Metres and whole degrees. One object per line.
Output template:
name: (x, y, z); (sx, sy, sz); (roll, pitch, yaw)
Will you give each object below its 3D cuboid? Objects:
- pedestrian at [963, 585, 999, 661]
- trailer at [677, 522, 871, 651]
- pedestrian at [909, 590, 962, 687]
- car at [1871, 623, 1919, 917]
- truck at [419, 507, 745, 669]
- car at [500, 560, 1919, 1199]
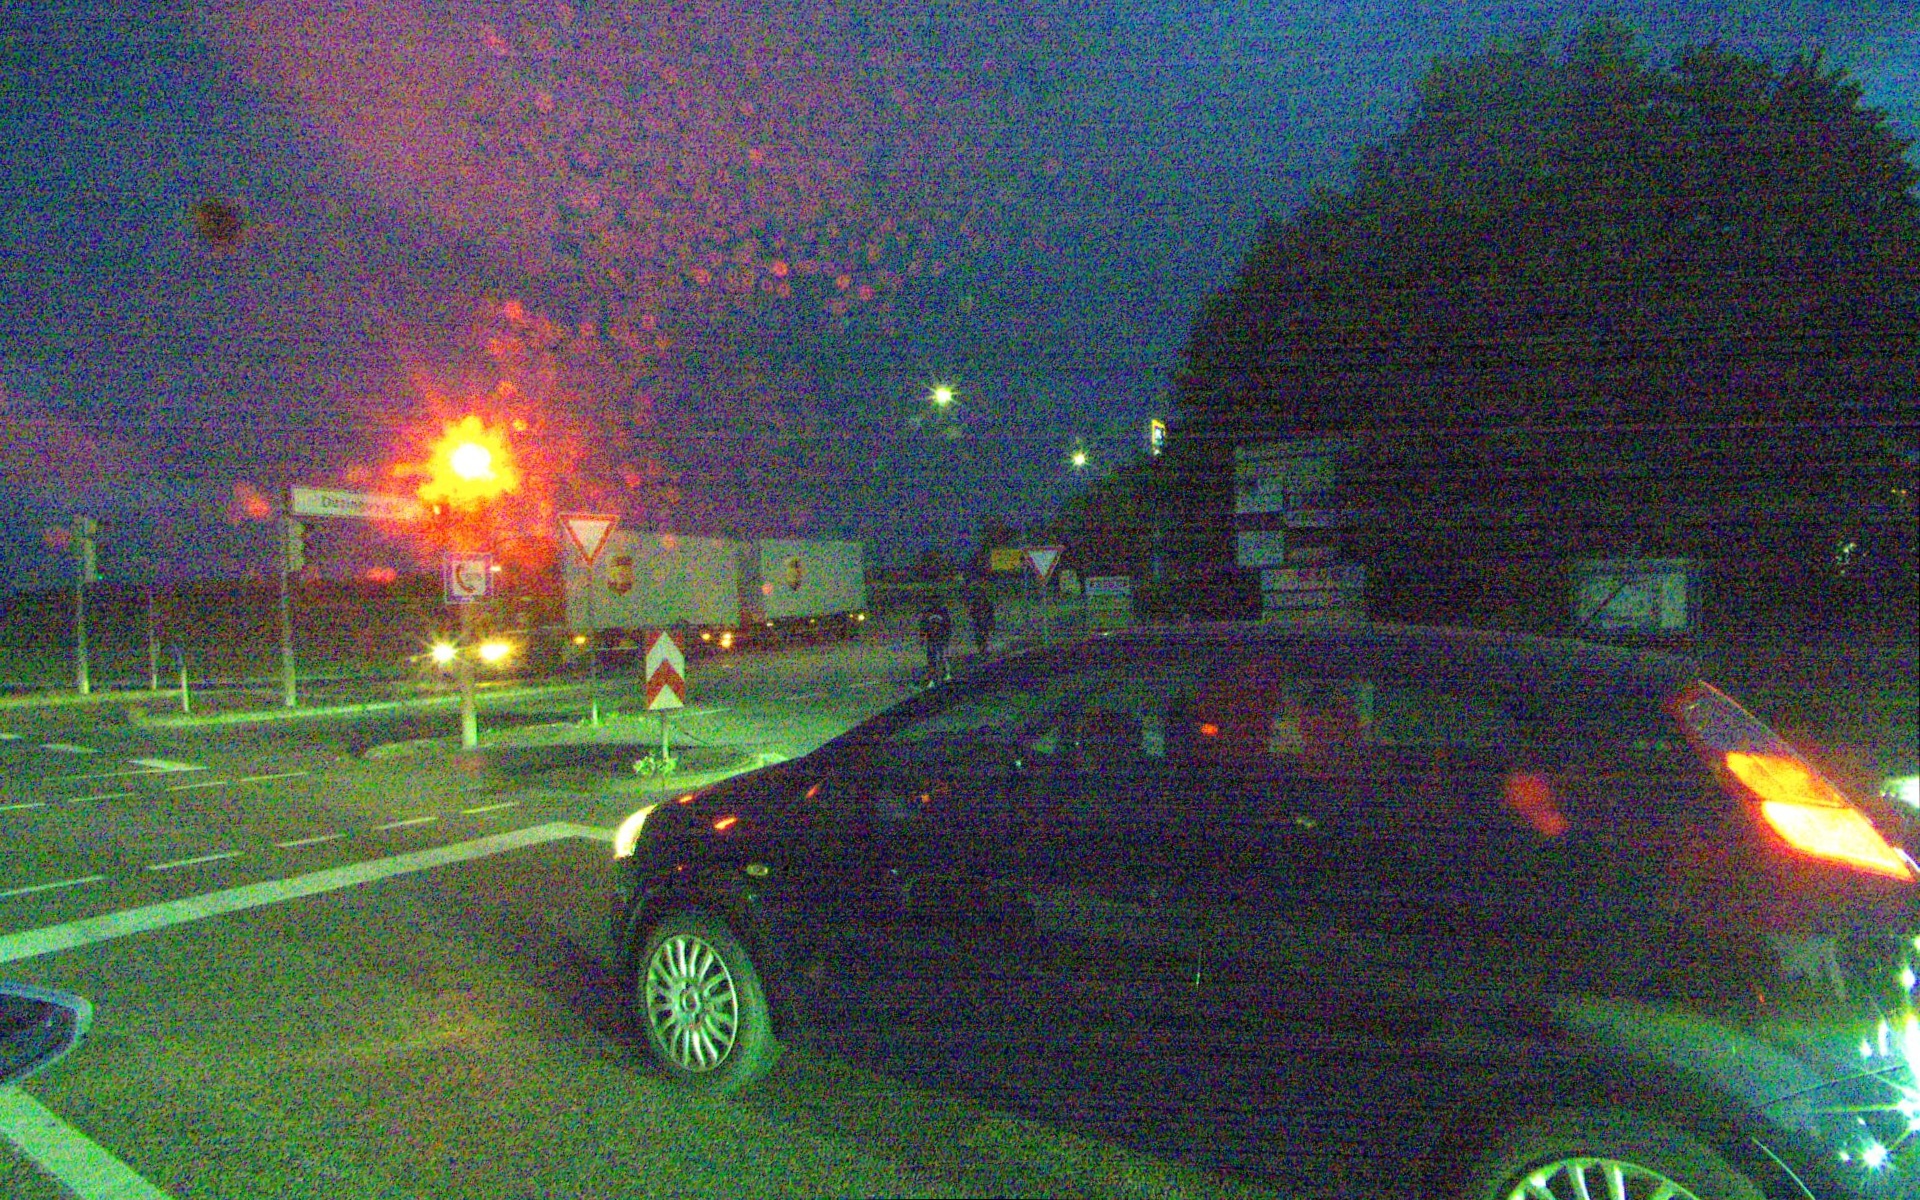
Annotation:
pedestrian: (0.541, 0.589, 26.044); (0.860, 1.925, 0.660); (-1, 1, 6)
trailer: (-6.851, -0.441, 38.765); (2.875, 4.359, 9.048); (-1, 0, 22)
pedestrian: (-0.487, 0.761, 20.064); (0.861, 1.859, 0.731); (-3, 1, 6)
car: (7.078, 0.836, 4.256); (4.648, 1.450, 1.910); (-1, -1, 40)
truck: (-10.708, -0.275, 30.089); (2.877, 4.032, 10.040); (-1, 0, 24)
car: (0.440, 0.749, 3.254); (4.049, 1.540, 1.666); (-1, -1, 34)
